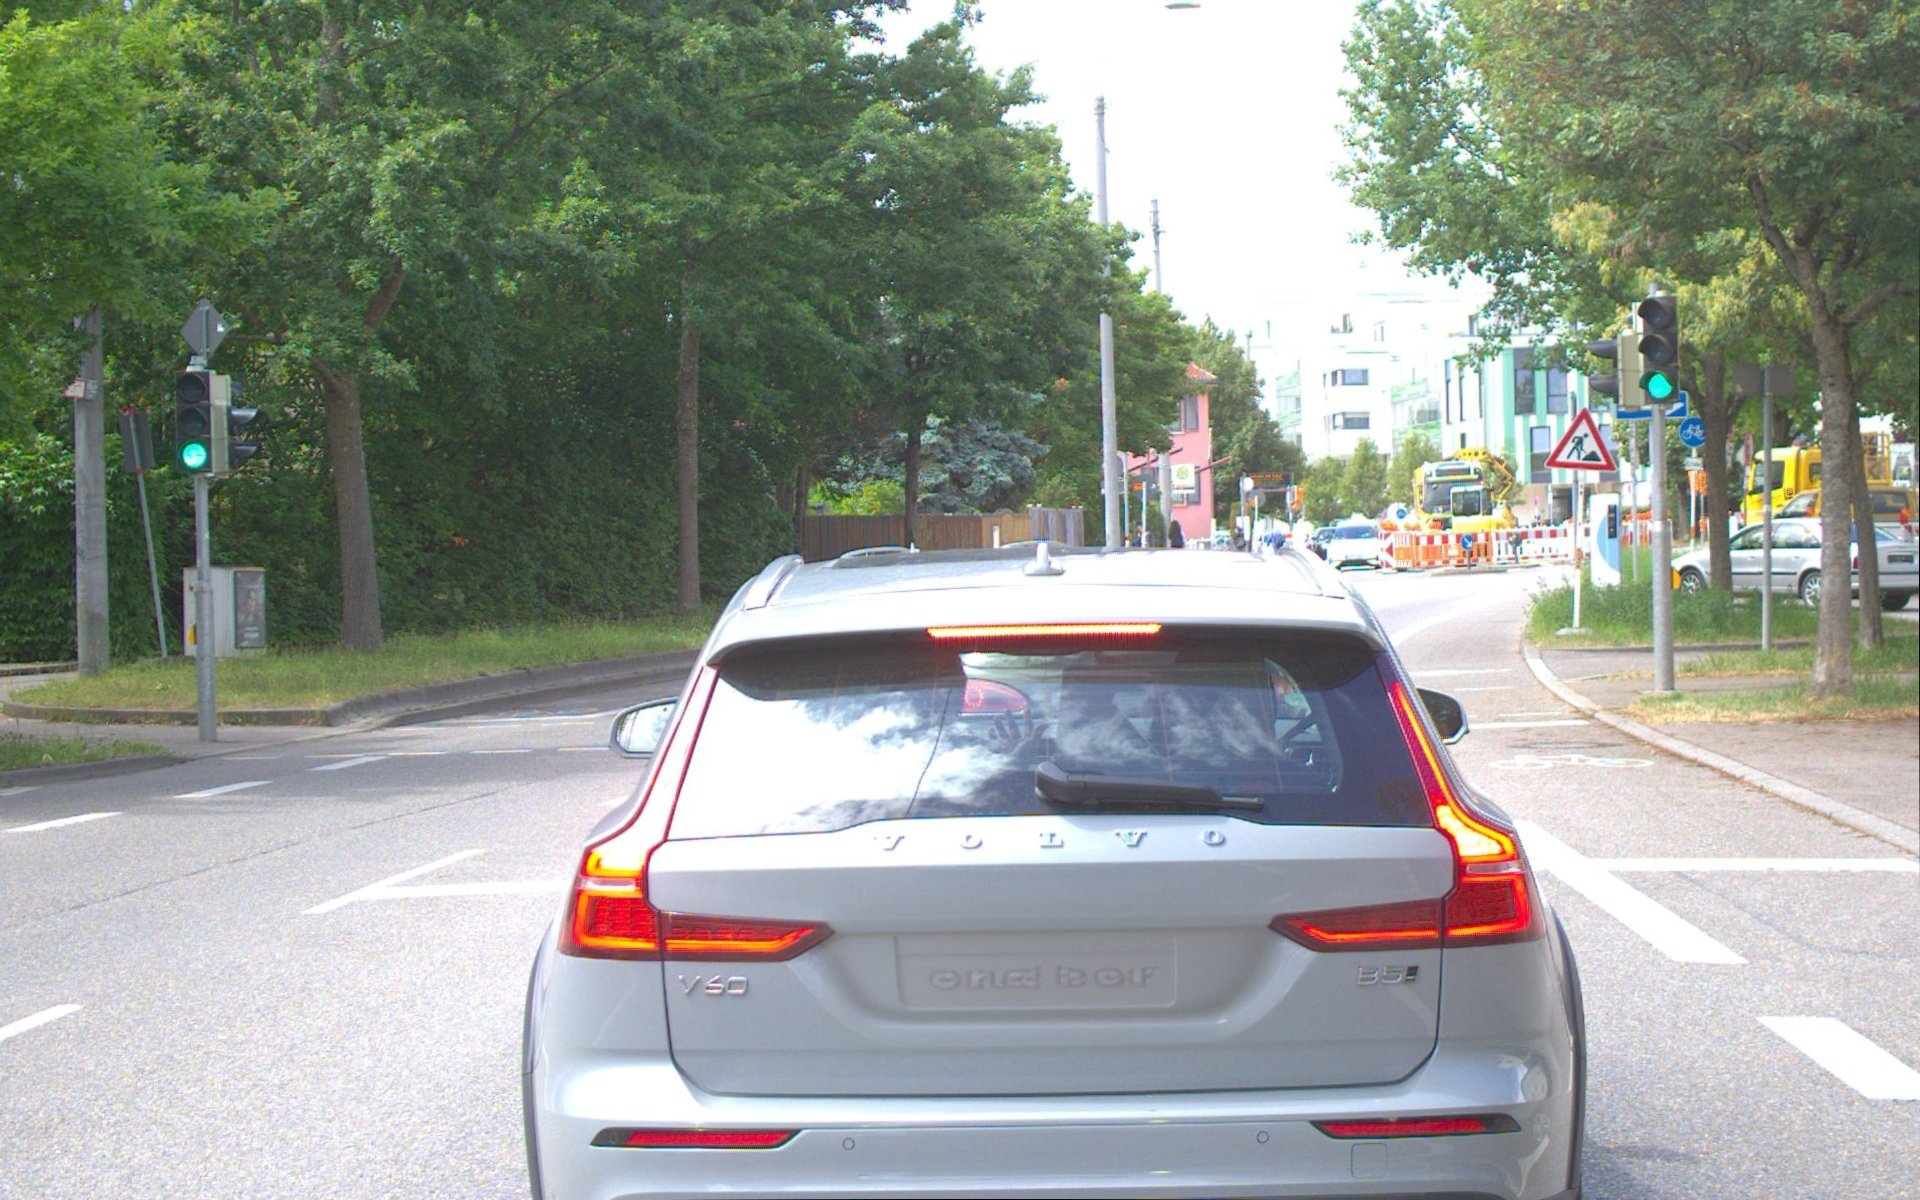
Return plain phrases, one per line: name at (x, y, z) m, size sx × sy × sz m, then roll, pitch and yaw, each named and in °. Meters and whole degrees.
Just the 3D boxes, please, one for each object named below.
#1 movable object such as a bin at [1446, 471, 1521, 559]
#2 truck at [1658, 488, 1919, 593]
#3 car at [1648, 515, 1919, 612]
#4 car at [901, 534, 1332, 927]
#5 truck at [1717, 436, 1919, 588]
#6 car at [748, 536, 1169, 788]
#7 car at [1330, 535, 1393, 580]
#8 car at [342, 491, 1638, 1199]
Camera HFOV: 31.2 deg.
movable object such as a bin at (16.638, -2.708, 109.118) m, size 2.035 × 2.634 × 5.937 m, roll -2°, pitch 1°, yaw 11°
truck at (16.828, -1.194, 68.978) m, size 1.994 × 2.007 × 5.677 m, roll 1°, pitch 0°, yaw -35°
car at (13.139, -0.604, 54.213) m, size 1.762 × 1.447 × 4.689 m, roll -1°, pitch 2°, yaw -32°
car at (0.688, 0.501, 15.403) m, size 1.661 × 1.503 × 3.702 m, roll 1°, pitch 0°, yaw 2°
truck at (19.034, -1.764, 70.579) m, size 2.761 × 2.998 × 6.706 m, roll 1°, pitch 0°, yaw -34°
car at (0.096, 0.361, 22.846) m, size 2.103 × 1.505 × 3.998 m, roll 1°, pitch 0°, yaw 10°
car at (13.101, -1.373, 112.044) m, size 1.829 × 1.325 × 3.998 m, roll 1°, pitch -1°, yaw 9°
car at (0.152, 0.575, 7.184) m, size 1.928 × 1.535 × 4.000 m, roll -2°, pitch 1°, yaw 3°
